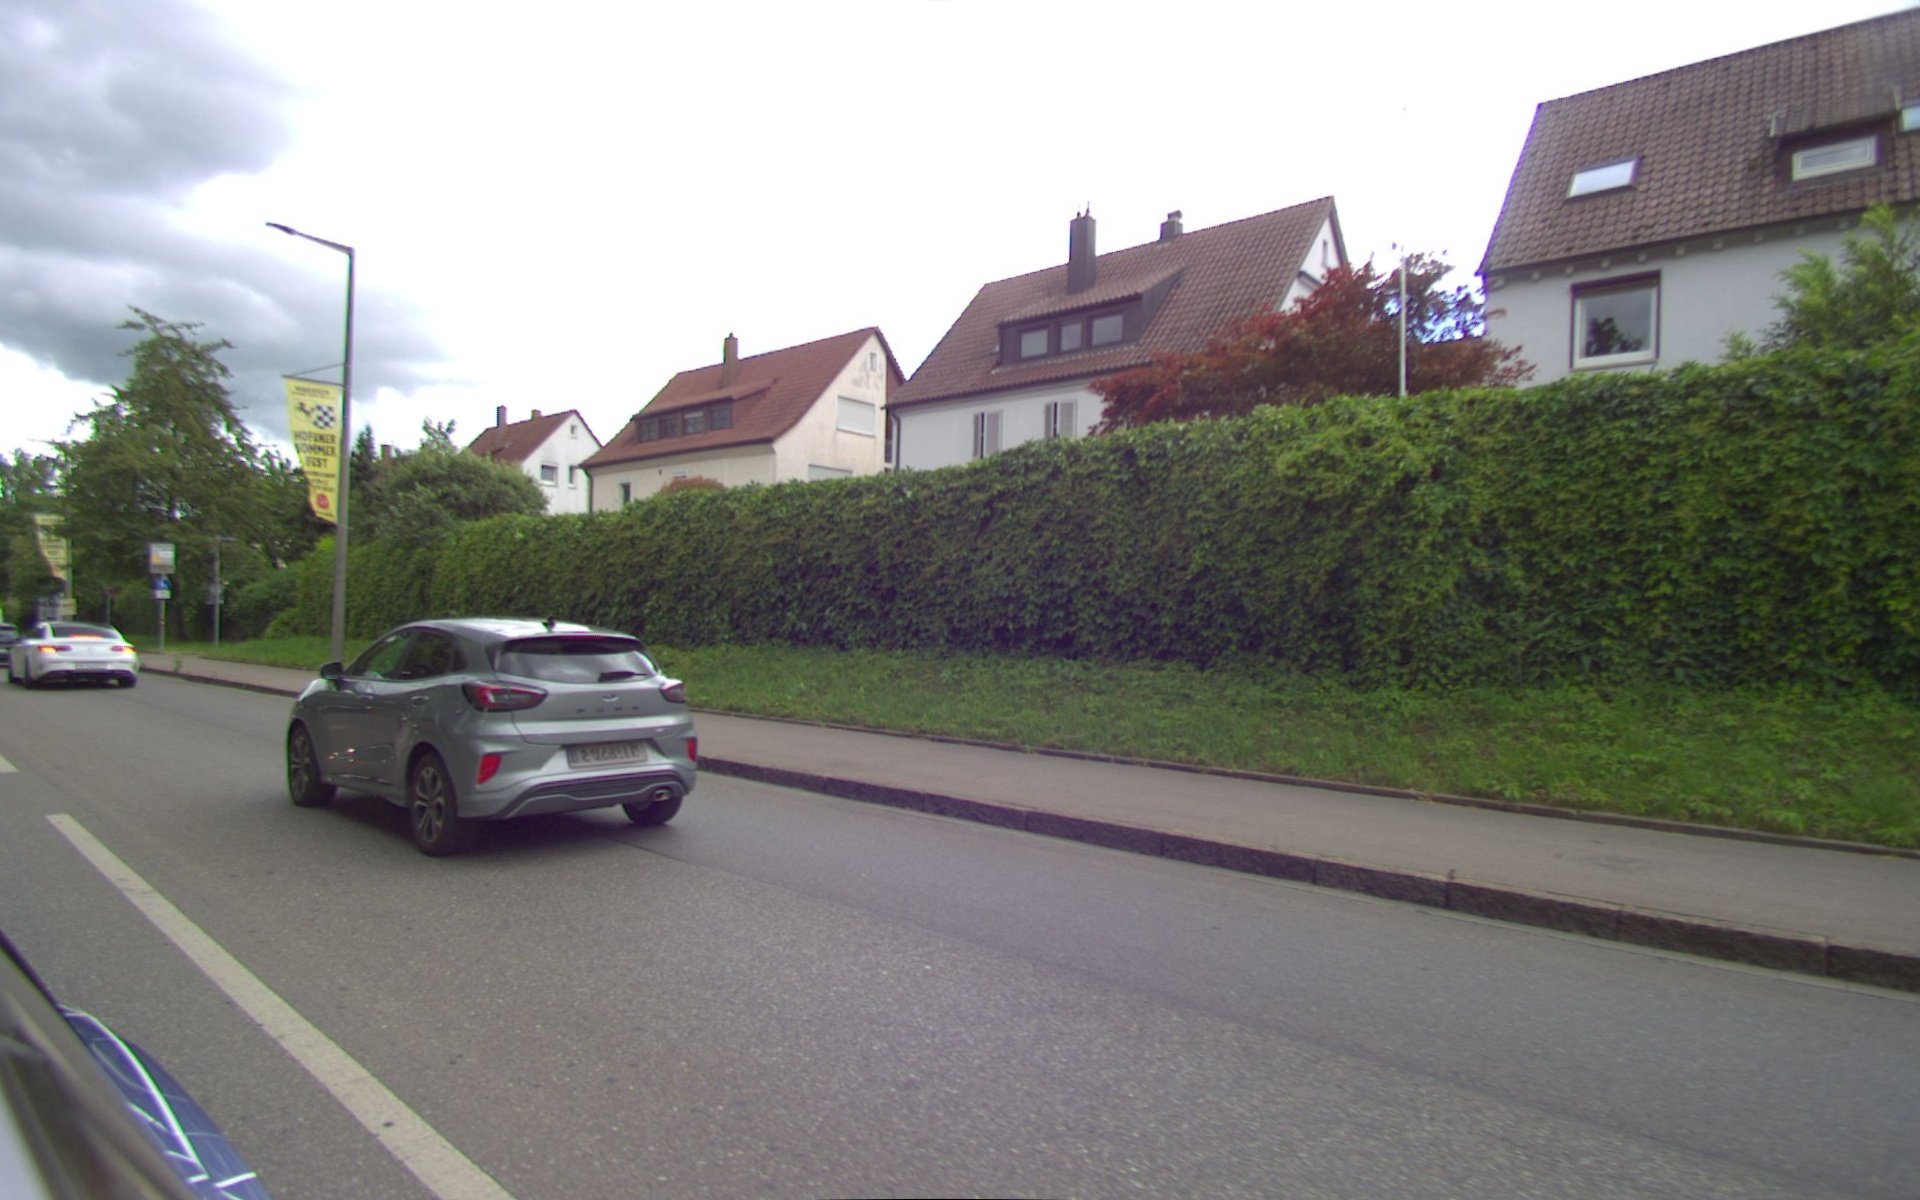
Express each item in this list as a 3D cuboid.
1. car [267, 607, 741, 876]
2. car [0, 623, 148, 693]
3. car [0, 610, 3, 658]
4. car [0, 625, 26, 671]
[{"bbox_3d":[-3.635,0.878,7.752,3.998,1.530,1.733,-1,-4,41],"label":"car"},{"bbox_3d":[-19.781,1.241,22.480,4.487,1.394,1.867,-1,-3,40],"label":"car"},{"bbox_3d":[-41.190,1.381,41.827,4.909,1.947,1.886,-1,-3,41],"label":"car"},{"bbox_3d":[-30.371,1.437,31.372,4.476,1.358,1.633,-1,-3,42],"label":"car"}]
